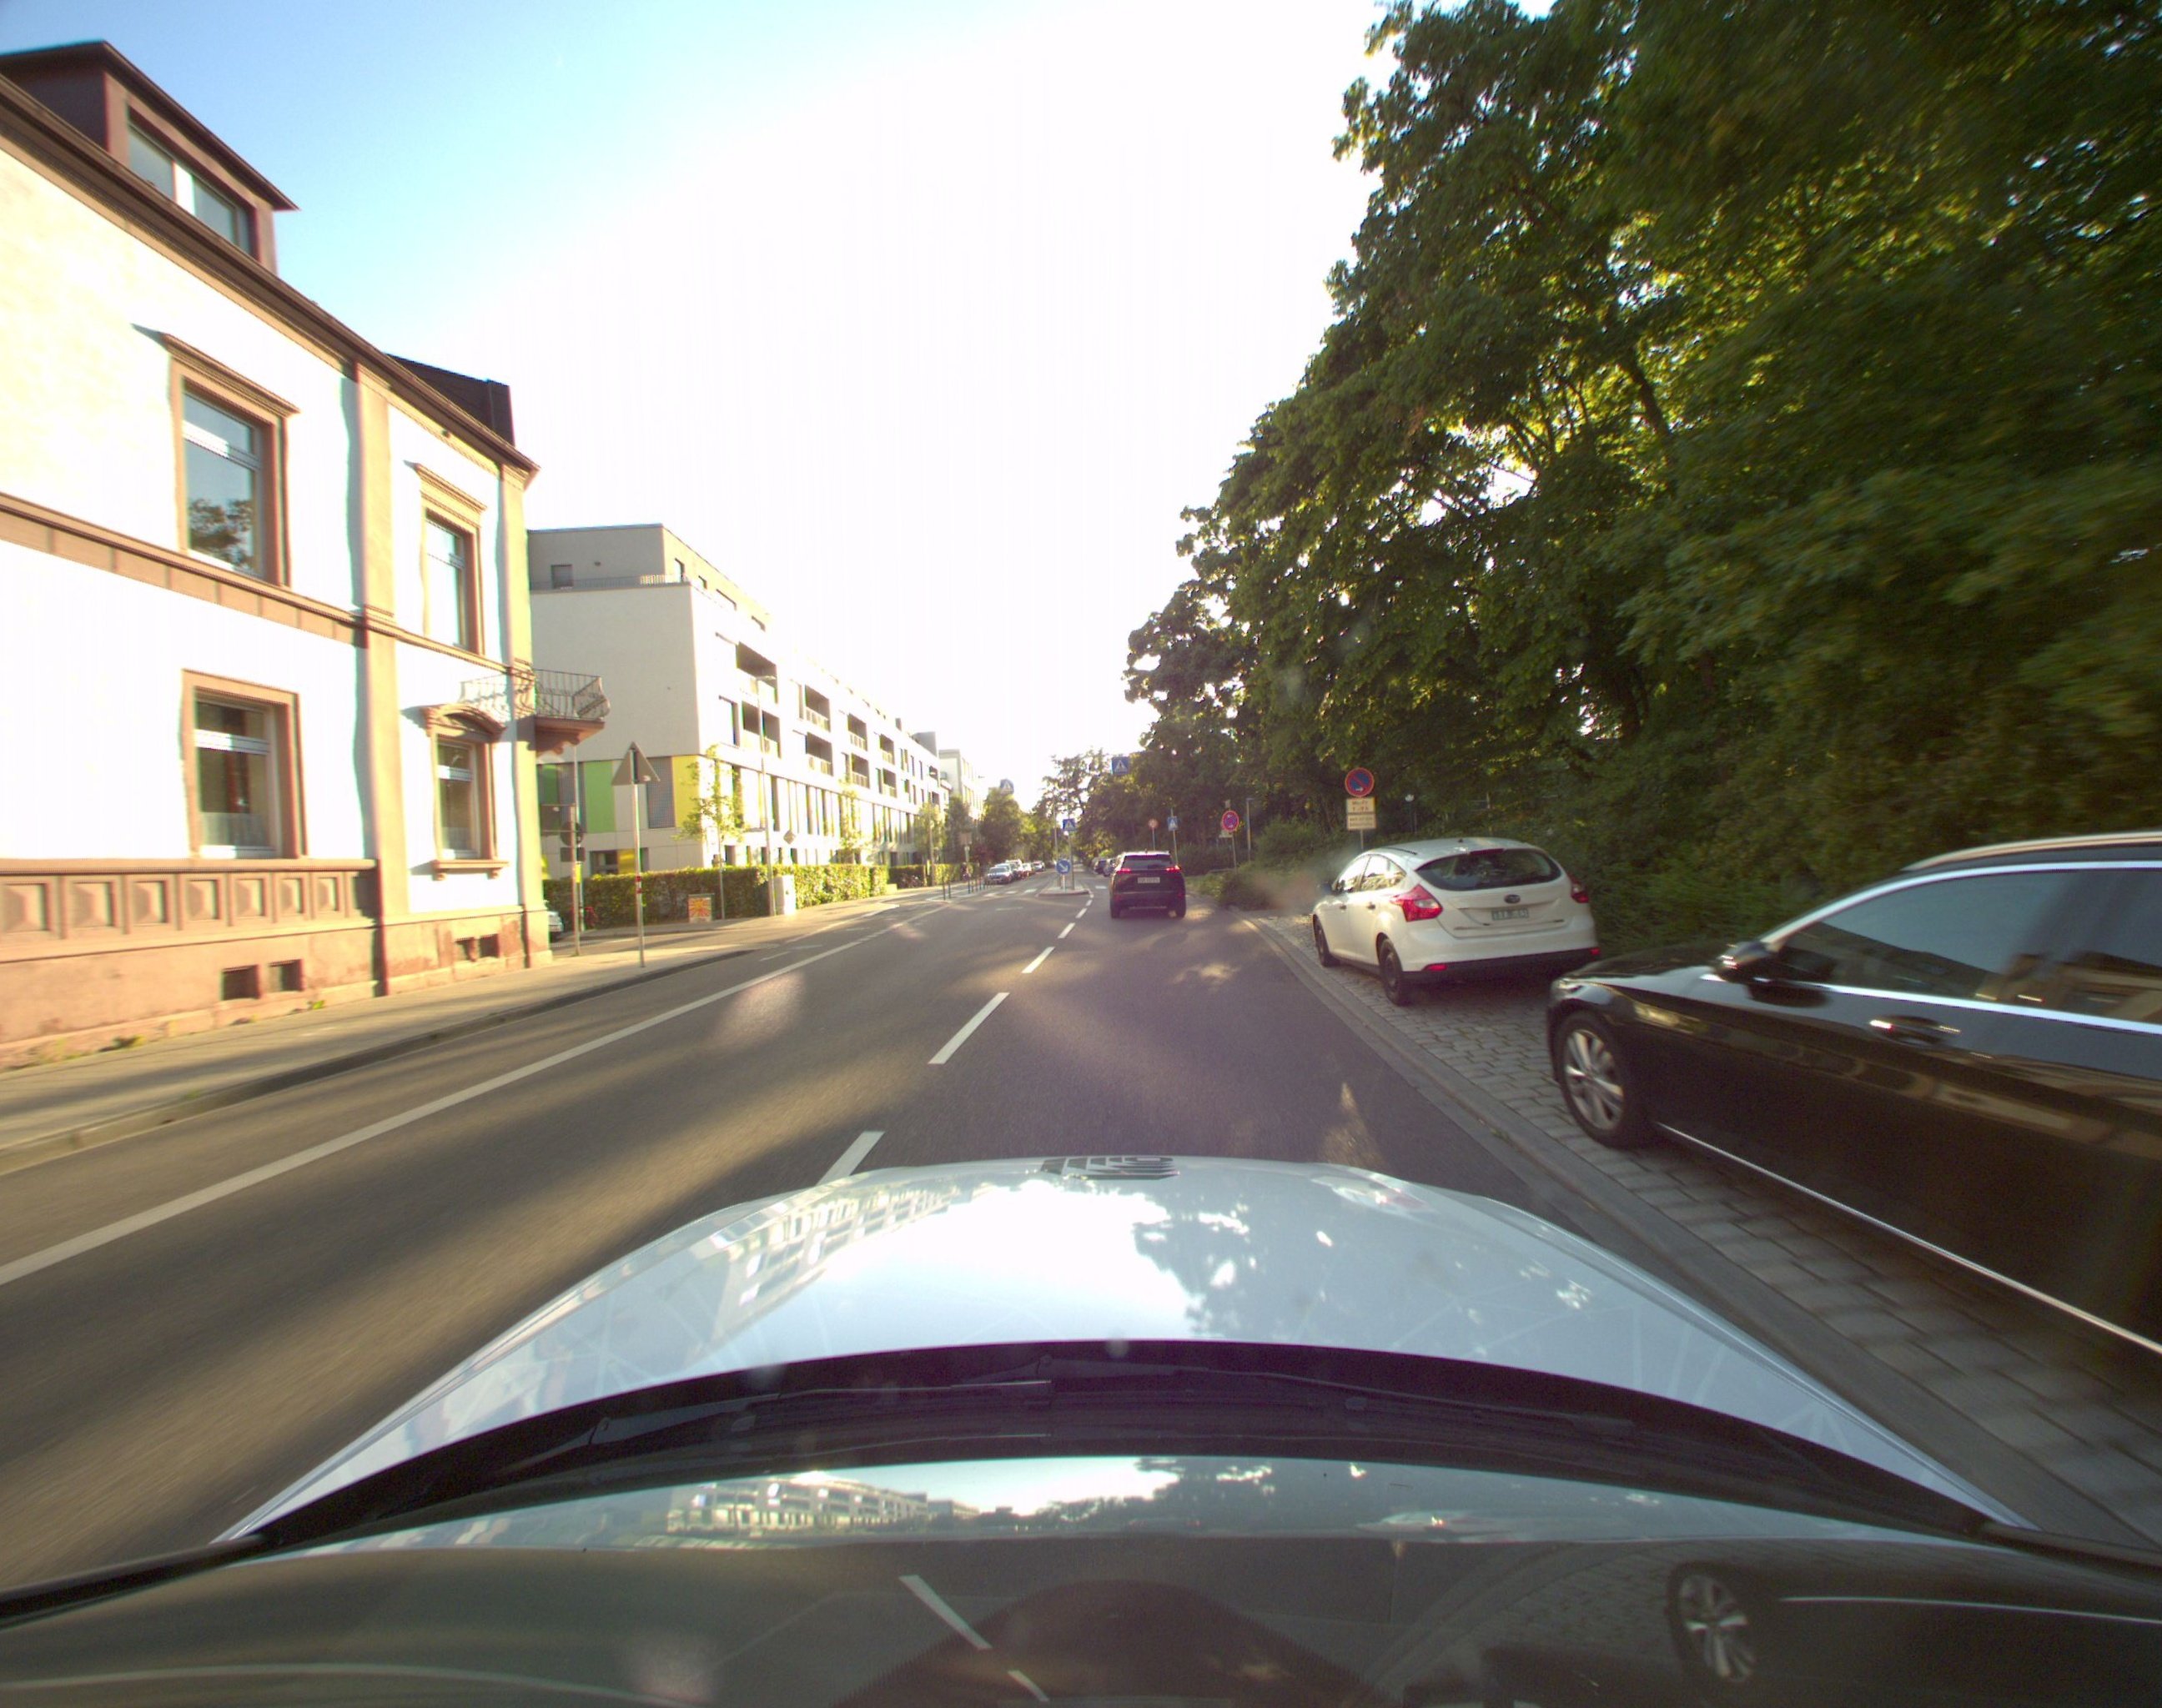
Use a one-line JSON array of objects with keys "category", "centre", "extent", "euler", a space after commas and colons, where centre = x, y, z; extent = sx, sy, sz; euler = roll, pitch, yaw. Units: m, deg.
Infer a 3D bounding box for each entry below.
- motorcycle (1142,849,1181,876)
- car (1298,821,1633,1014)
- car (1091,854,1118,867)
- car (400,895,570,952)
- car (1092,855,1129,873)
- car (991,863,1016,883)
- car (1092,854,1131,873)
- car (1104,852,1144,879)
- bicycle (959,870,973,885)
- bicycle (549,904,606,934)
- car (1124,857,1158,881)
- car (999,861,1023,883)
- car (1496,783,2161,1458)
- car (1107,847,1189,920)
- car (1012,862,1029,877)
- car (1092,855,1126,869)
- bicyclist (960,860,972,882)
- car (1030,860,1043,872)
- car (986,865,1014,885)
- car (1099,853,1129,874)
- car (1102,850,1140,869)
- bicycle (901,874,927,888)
[{"category": "motorcycle", "centre": [5.108, 0.560, 51.759], "extent": [2.277, 1.545, 1.042], "euler": [-4, -1, 10]}, {"category": "car", "centre": [3.723, 0.528, 8.805], "extent": [1.741, 1.486, 4.179], "euler": [-4, 0, 3]}, {"category": "car", "centre": [3.659, 0.972, 126.307], "extent": [4.152, 1.710, 1.869], "euler": [-3, 0, 3]}, {"category": "car", "centre": [-18.382, 2.146, 25.243], "extent": [3.893, 1.439, 1.818], "euler": [-4, -5, 0]}, {"category": "car", "centre": [3.040, 1.000, 84.733], "extent": [3.658, 1.444, 1.733], "euler": [-7, 0, -3]}, {"category": "car", "centre": [-6.481, 1.558, 68.383], "extent": [1.738, 1.533, 4.111], "euler": [-4, 0, -3]}, {"category": "car", "centre": [3.068, 0.966, 82.354], "extent": [3.602, 1.525, 1.670], "euler": [-7, 0, -3]}, {"category": "car", "centre": [3.120, 0.858, 60.314], "extent": [1.922, 1.748, 4.650], "euler": [-4, 0, -10]}, {"category": "bicycle", "centre": [-9.200, 1.852, 65.191], "extent": [0.630, 1.078, 1.887], "euler": [-4, 0, 7]}, {"category": "bicycle", "centre": [-17.418, 2.249, 28.186], "extent": [1.594, 0.892, 0.511], "euler": [-4, 0, -3]}, {"category": "car", "centre": [4.116, 1.006, 56.072], "extent": [1.619, 1.486, 3.410], "euler": [-4, 0, -8]}, {"category": "car", "centre": [-6.348, 1.605, 74.107], "extent": [1.737, 1.676, 4.413], "euler": [-5, 0, -2]}, {"category": "car", "centre": [3.226, 0.535, 2.406], "extent": [1.741, 1.486, 4.511], "euler": [-4, 0, 2]}, {"category": "car", "centre": [1.562, 0.666, 20.098], "extent": [1.762, 1.568, 3.381], "euler": [-2, 0, 1]}, {"category": "car", "centre": [-6.576, 1.709, 89.014], "extent": [1.594, 1.455, 3.859], "euler": [-4, 0, -2]}, {"category": "car", "centre": [3.664, 1.055, 108.262], "extent": [4.324, 1.475, 1.742], "euler": [-6, 1, 0]}, {"category": "bicyclist", "centre": [-9.223, 1.363, 65.228], "extent": [0.623, 1.644, 0.759], "euler": [-4, 0, 6]}, {"category": "car", "centre": [-6.663, 1.796, 122.044], "extent": [1.665, 1.493, 4.060], "euler": [-5, 0, 0]}, {"category": "car", "centre": [-6.260, 1.604, 63.281], "extent": [1.737, 1.356, 4.395], "euler": [-4, 0, -1]}, {"category": "car", "centre": [2.635, 0.788, 66.058], "extent": [1.649, 1.567, 4.290], "euler": [-4, 0, -7]}, {"category": "car", "centre": [3.722, 0.488, 75.963], "extent": [3.377, 1.525, 1.670], "euler": [-4, -1, -3]}, {"category": "bicycle", "centre": [-12.188, 1.954, 59.473], "extent": [1.747, 0.918, 0.617], "euler": [-2, -1, -3]}]
